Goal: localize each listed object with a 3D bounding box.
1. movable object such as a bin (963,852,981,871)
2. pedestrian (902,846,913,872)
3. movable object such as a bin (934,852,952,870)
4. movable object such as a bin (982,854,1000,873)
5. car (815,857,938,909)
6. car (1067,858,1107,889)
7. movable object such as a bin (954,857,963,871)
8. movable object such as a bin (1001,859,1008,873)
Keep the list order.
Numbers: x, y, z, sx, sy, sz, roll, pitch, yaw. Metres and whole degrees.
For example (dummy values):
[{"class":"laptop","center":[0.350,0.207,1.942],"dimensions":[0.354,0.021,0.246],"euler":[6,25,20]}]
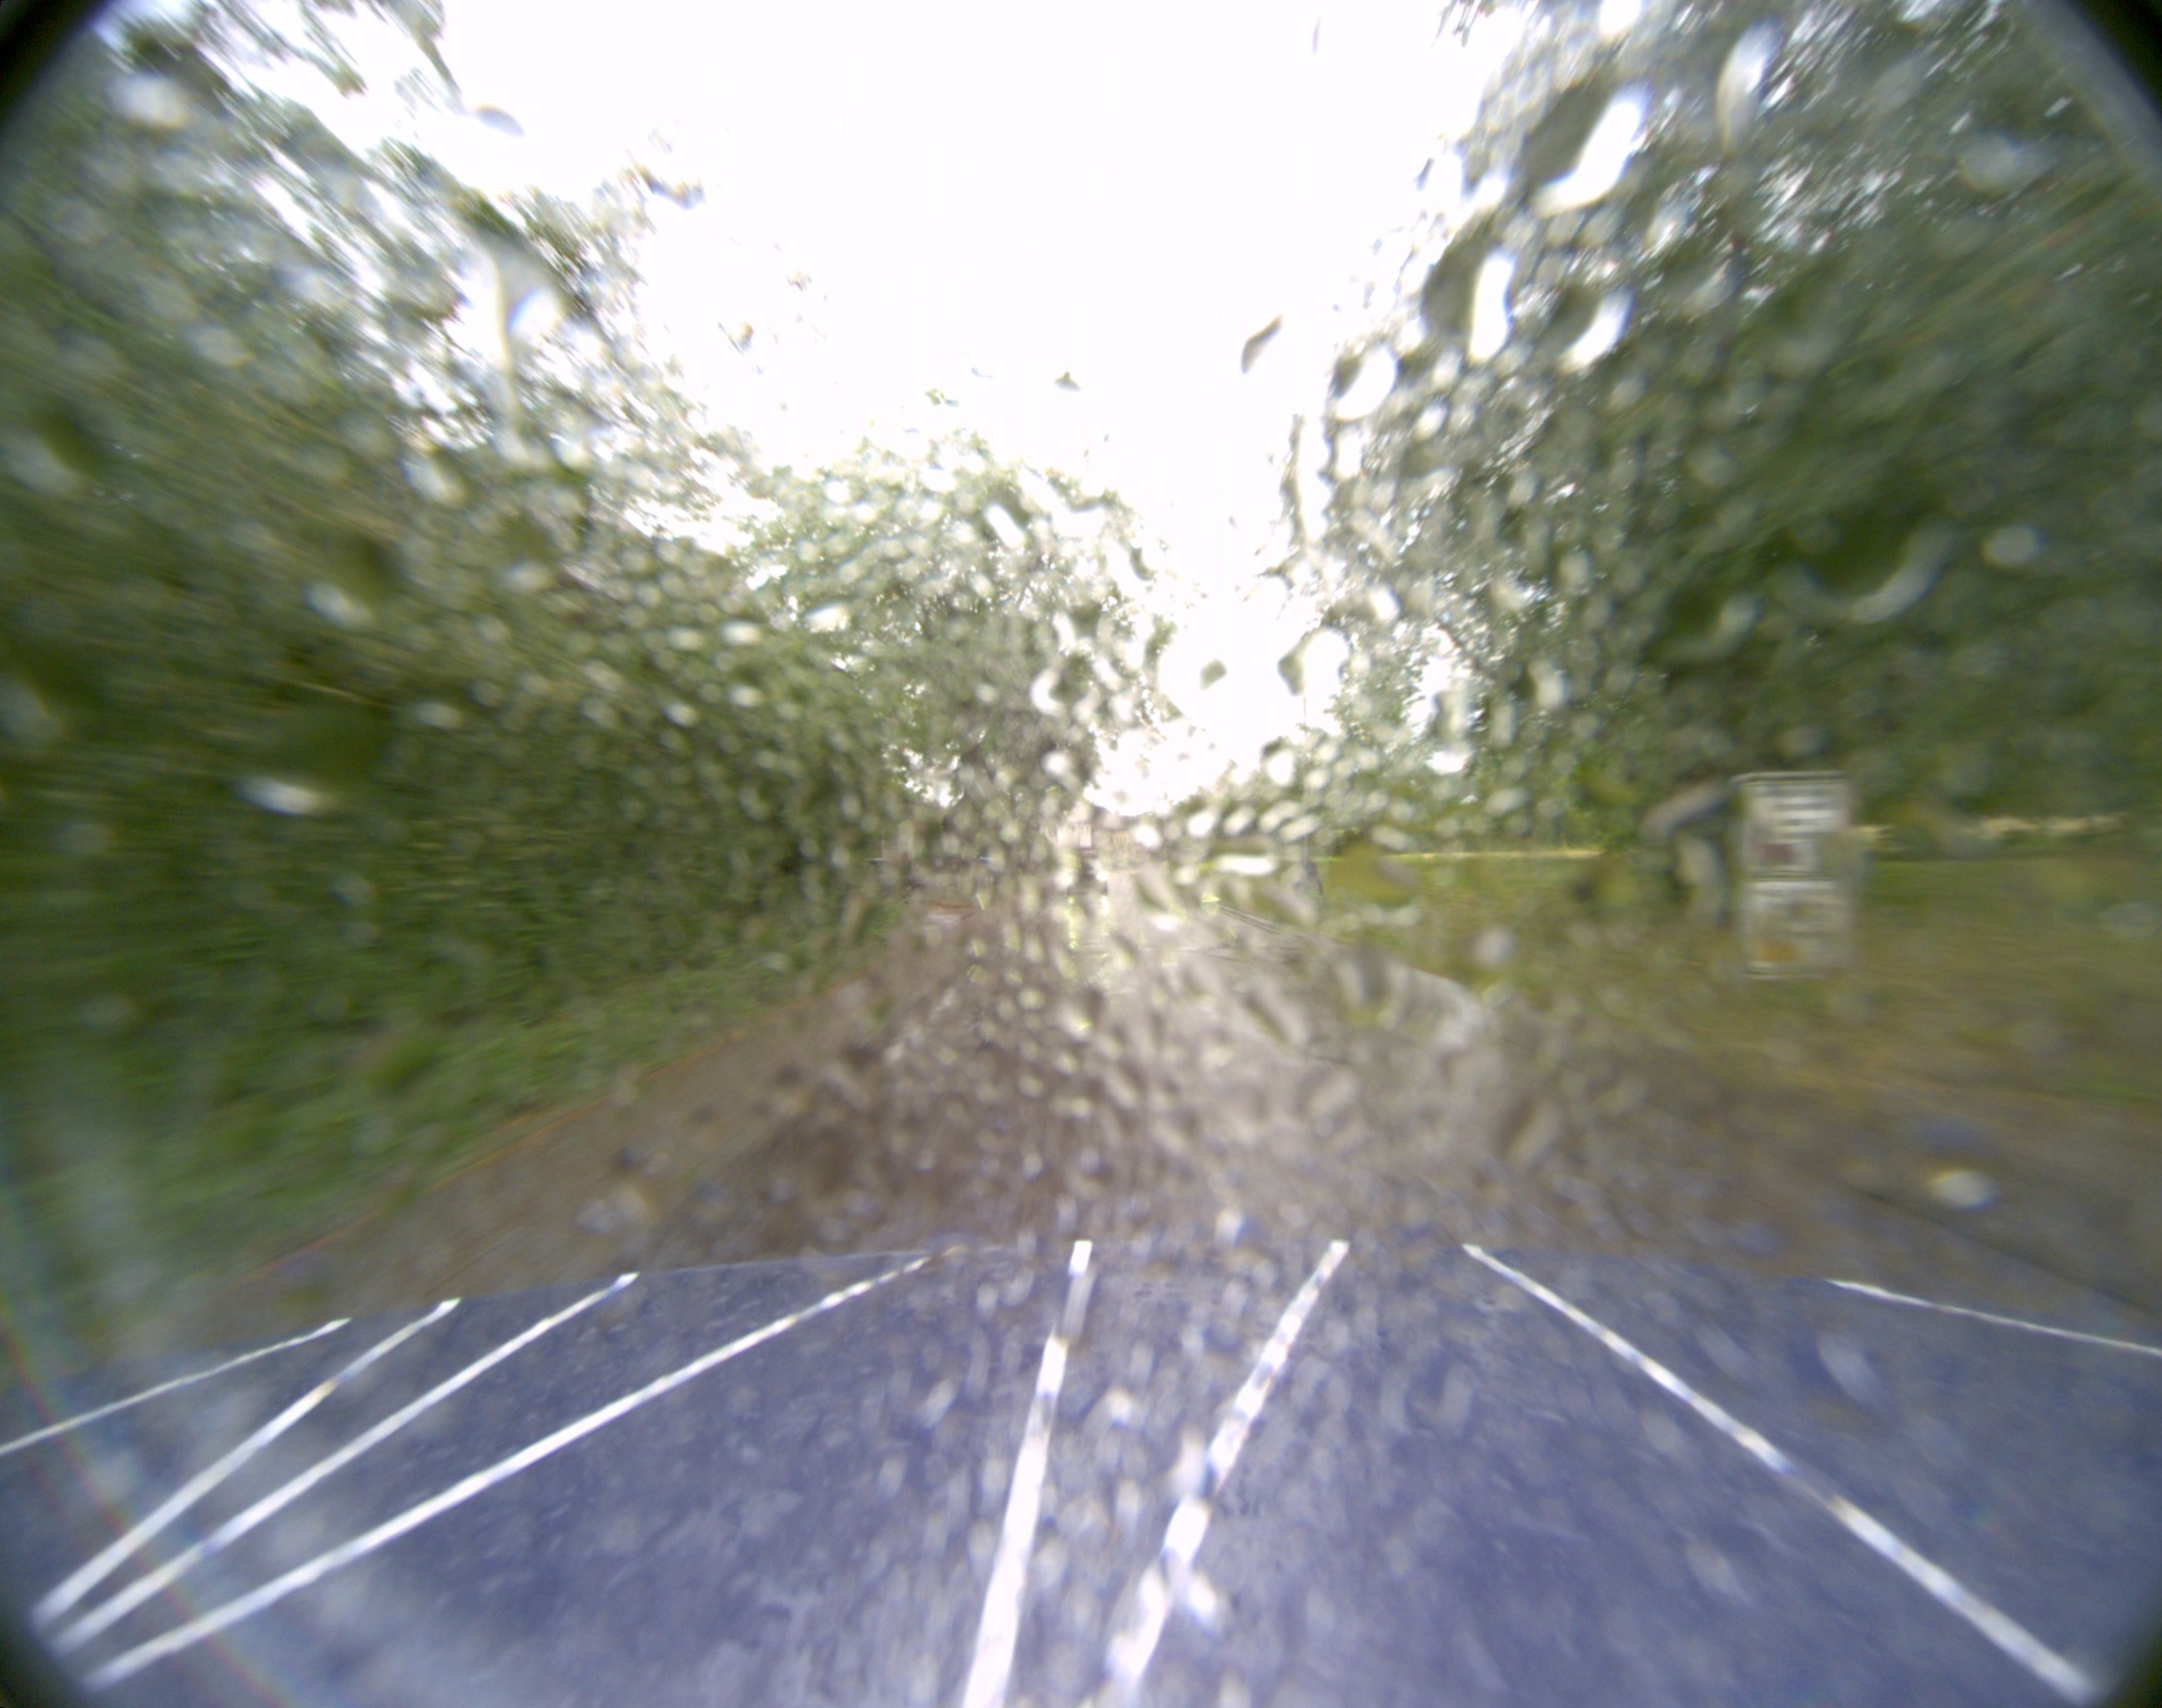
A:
[{"class":"movable object such as a bin","center":[-8.535,0.553,59.687],"dimensions":[1.238,1.428,0.795],"euler":[3,1,-1]},{"class":"pedestrian","center":[-12.003,0.339,52.593],"dimensions":[0.536,1.744,0.867],"euler":[0,0,1]},{"class":"movable object such as a bin","center":[-10.800,0.546,59.576],"dimensions":[1.151,1.335,0.795],"euler":[3,1,0]},{"class":"movable object such as a bin","center":[-7.053,0.727,59.600],"dimensions":[1.296,1.410,0.795],"euler":[3,1,-1]},{"class":"car","center":[-6.842,0.911,25.520],"dimensions":[3.620,1.542,1.617],"euler":[-1,1,-38]},{"class":"car","center":[0.240,0.878,34.878],"dimensions":[1.667,1.290,3.518],"euler":[-2,-1,-1]},{"class":"movable object such as a bin","center":[-9.638,0.801,59.623],"dimensions":[0.568,1.073,0.530],"euler":[2,1,-1]},{"class":"movable object such as a bin","center":[-6.021,0.946,59.806],"dimensions":[0.538,1.017,0.463],"euler":[2,1,-1]}]
